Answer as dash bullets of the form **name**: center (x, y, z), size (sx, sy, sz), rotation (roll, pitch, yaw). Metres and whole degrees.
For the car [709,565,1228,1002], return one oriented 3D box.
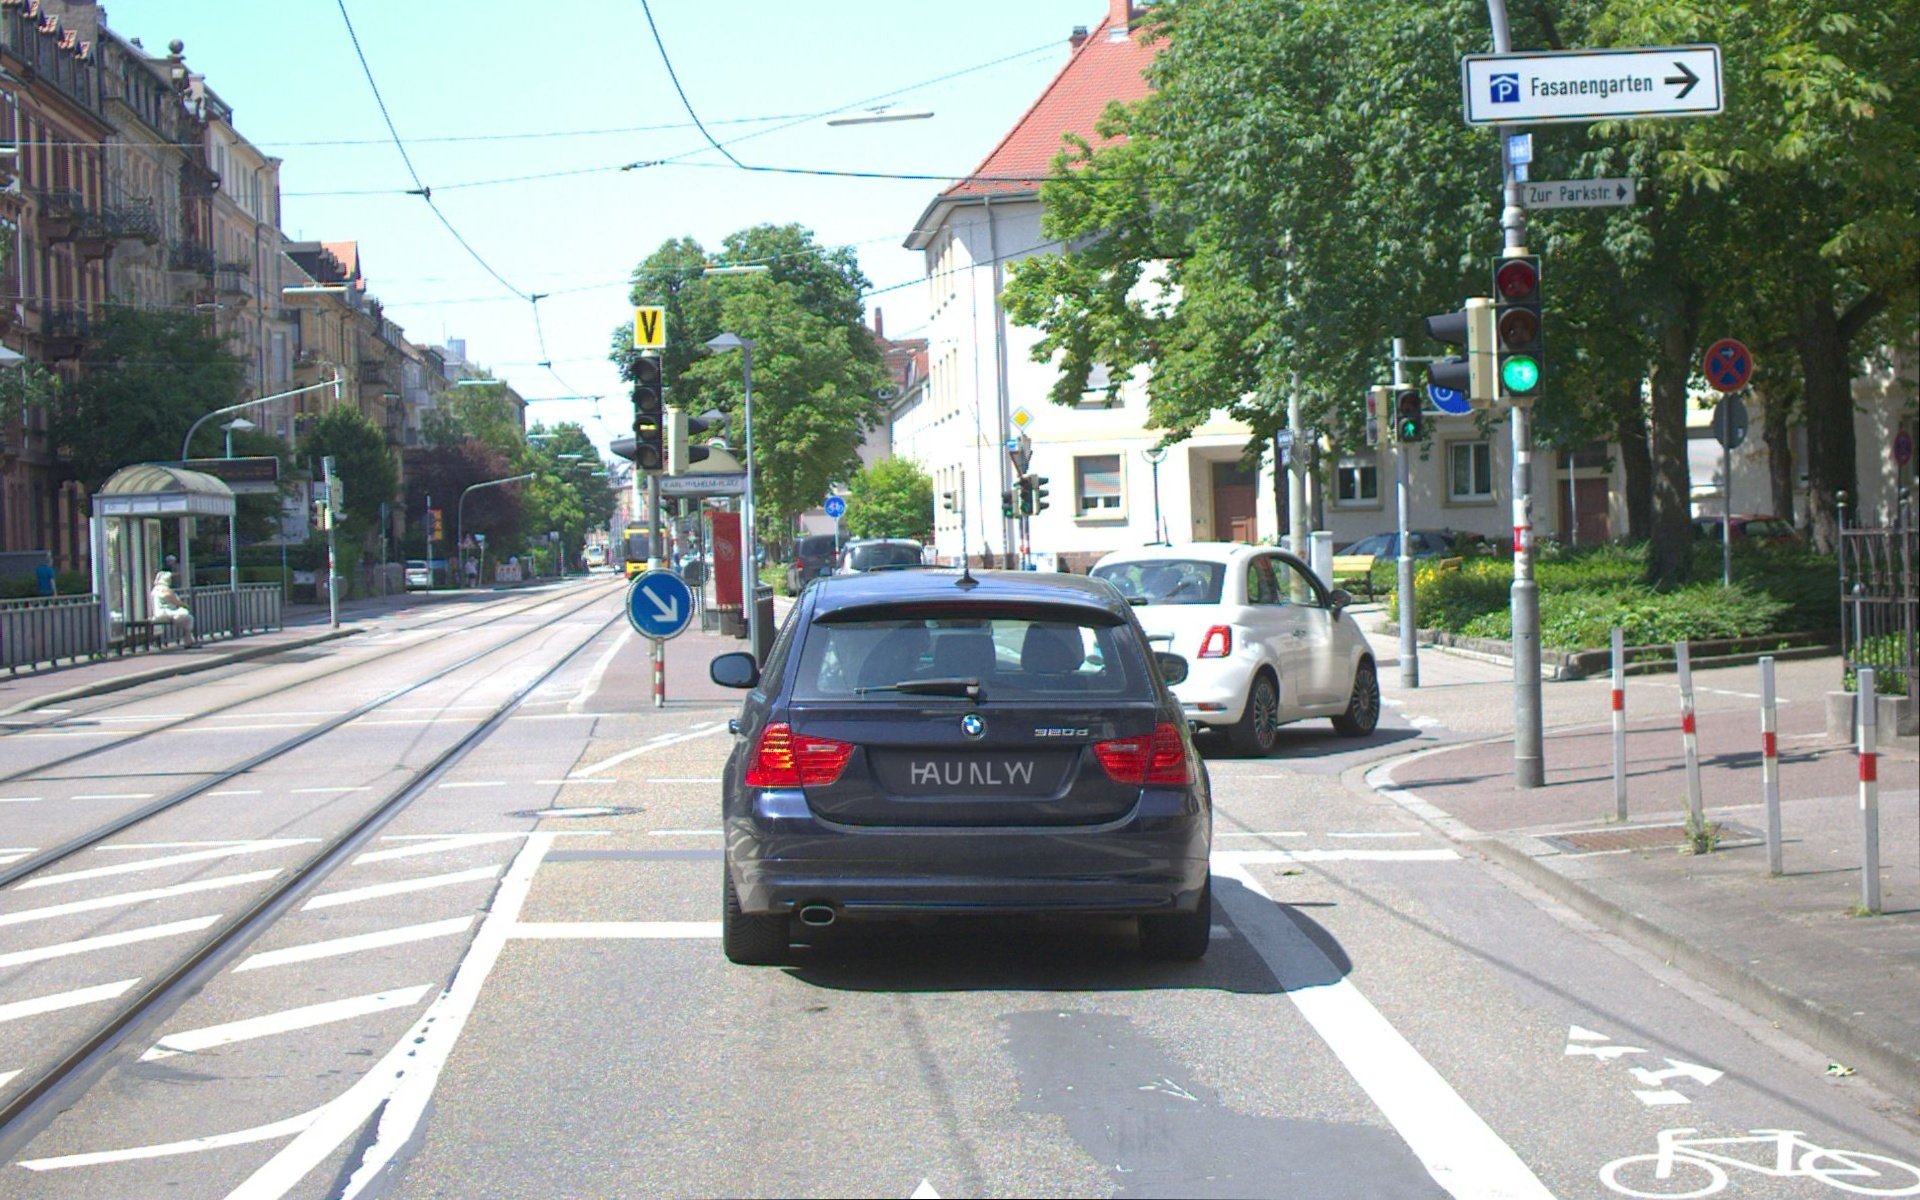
- **car**: center (-0.009, 0.588, 13.733), size (1.722, 1.404, 4.565), rotation (0, 1, -1)

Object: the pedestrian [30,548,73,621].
- **pedestrian**: center (-22.856, -0.388, 86.468), size (0.640, 1.805, 0.739), rotation (-1, 1, 30)

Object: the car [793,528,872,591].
- **car**: center (-3.923, -1.250, 105.337), size (1.993, 1.842, 4.001), rotation (-2, 1, -8)

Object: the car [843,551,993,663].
- **car**: center (-0.573, 0.054, 43.882), size (1.691, 1.318, 3.822), rotation (-2, 1, -3)

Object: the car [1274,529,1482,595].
- **car**: center (8.776, -0.795, 72.242), size (3.994, 1.239, 1.621), rotation (-1, 1, 31)

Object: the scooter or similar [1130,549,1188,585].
- **scooter or similar**: center (4.890, -0.807, 84.352), size (1.311, 0.834, 0.527), rotation (-2, 1, -9)

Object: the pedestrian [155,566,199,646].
- **pedestrian**: center (-12.481, 0.090, 54.845), size (0.613, 1.238, 0.628), rotation (-2, 1, -10)

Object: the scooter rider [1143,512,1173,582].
- **scooter rider**: center (4.862, -1.306, 84.355), size (0.590, 1.681, 0.528), rotation (-2, 1, -9)

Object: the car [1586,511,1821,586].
- **car**: center (14.426, -0.989, 66.894), size (1.787, 1.324, 4.338), rotation (-3, 1, -36)

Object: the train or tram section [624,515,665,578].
- **train or tram section**: center (-18.197, -3.111, 198.619), size (2.190, 3.470, 8.847), rotation (-2, 1, -5)

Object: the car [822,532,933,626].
- **car**: center (-1.446, -0.373, 59.070), size (1.691, 1.508, 3.822), rotation (-2, 1, -4)

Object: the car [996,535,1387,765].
- **car**: center (1.766, 0.321, 25.039), size (1.687, 1.479, 3.680), rotation (-1, 1, 23)

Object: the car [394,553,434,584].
- **car**: center (-28.393, -1.653, 178.674), size (1.787, 1.580, 4.001), rotation (-1, 0, -13)
